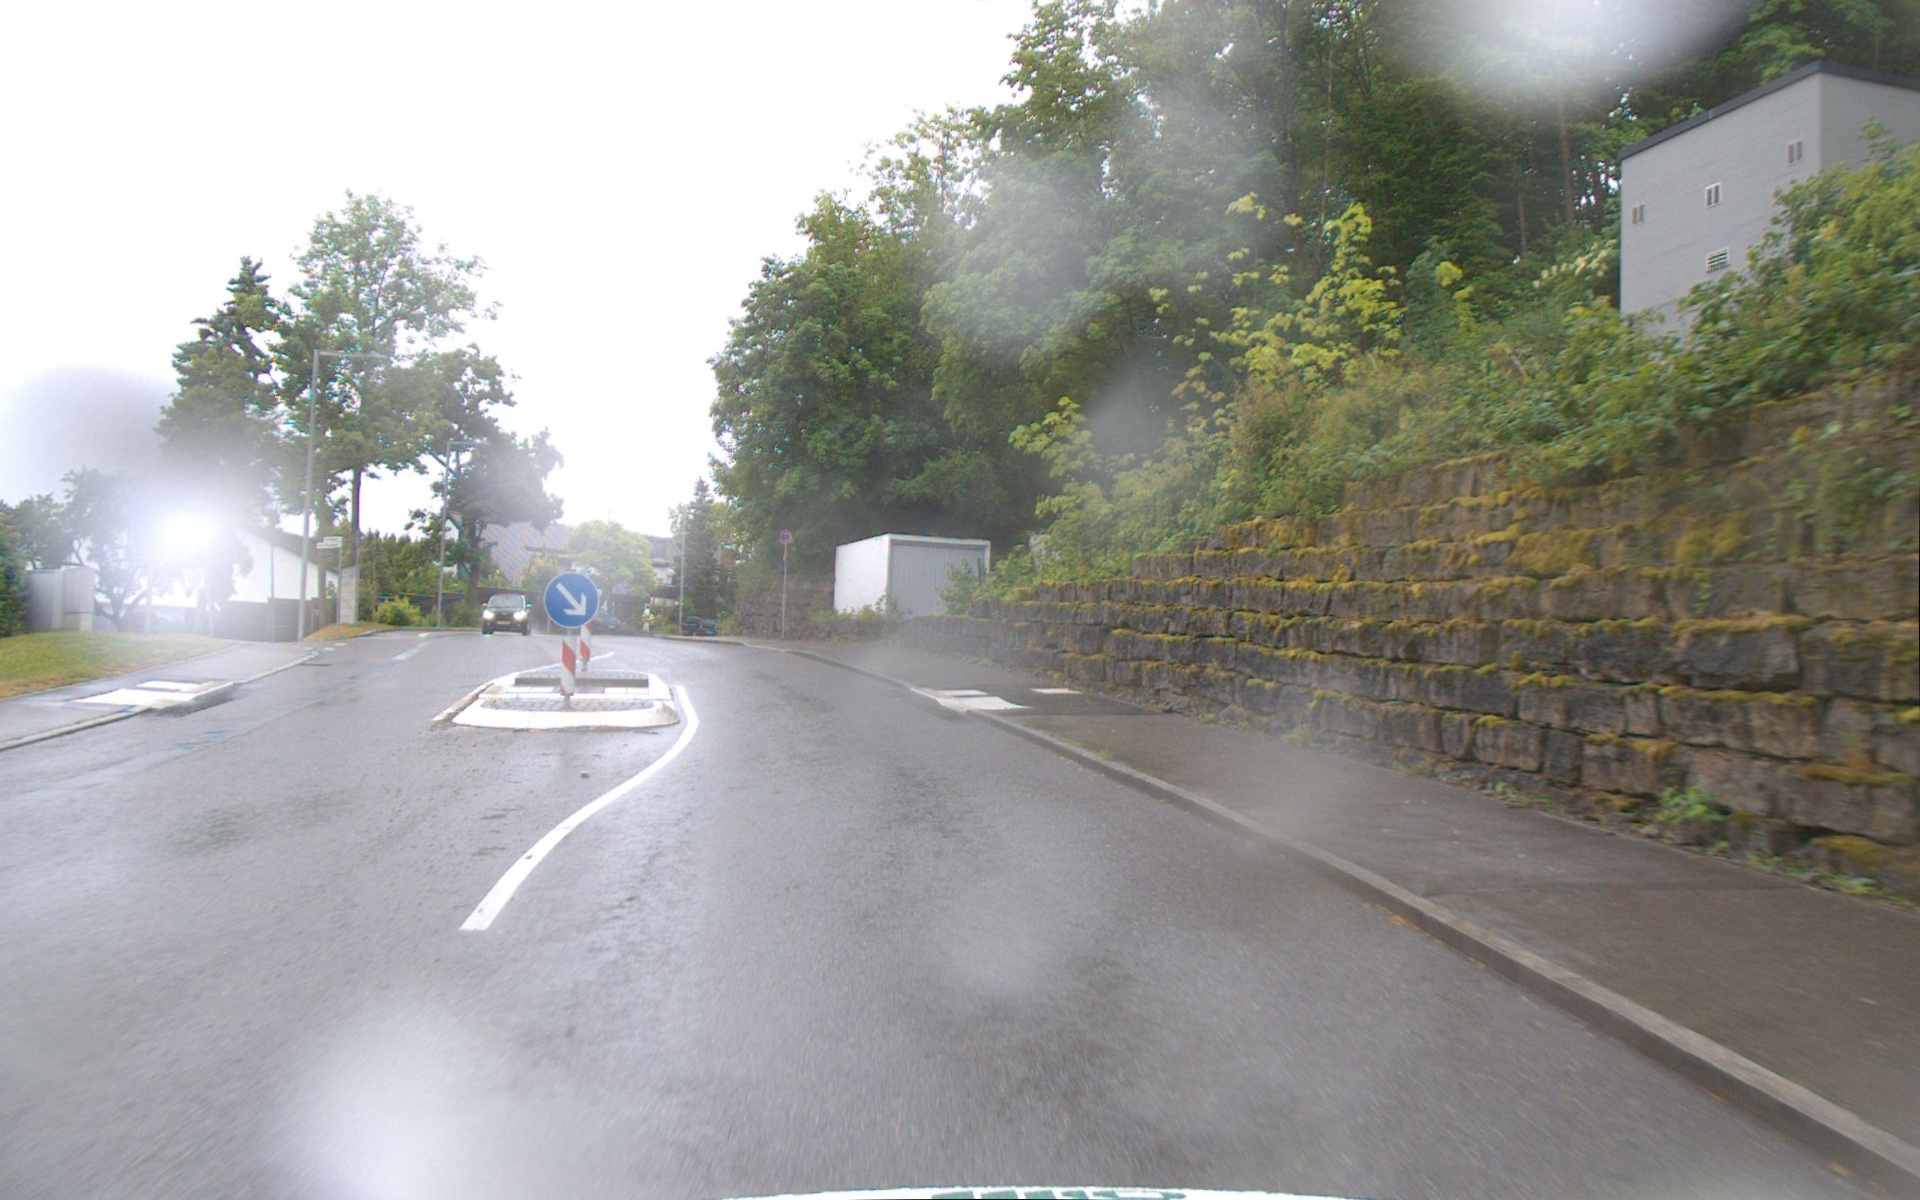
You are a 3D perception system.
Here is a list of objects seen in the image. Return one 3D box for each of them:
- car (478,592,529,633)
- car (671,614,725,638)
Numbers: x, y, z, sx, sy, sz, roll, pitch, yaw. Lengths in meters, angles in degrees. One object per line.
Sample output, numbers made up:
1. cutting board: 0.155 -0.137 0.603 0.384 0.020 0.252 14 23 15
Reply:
1. car: -17.626 0.477 63.811 1.802 1.547 4.606 0 0 -16
2. car: -17.354 1.708 109.457 1.919 1.413 3.950 6 -3 -35
